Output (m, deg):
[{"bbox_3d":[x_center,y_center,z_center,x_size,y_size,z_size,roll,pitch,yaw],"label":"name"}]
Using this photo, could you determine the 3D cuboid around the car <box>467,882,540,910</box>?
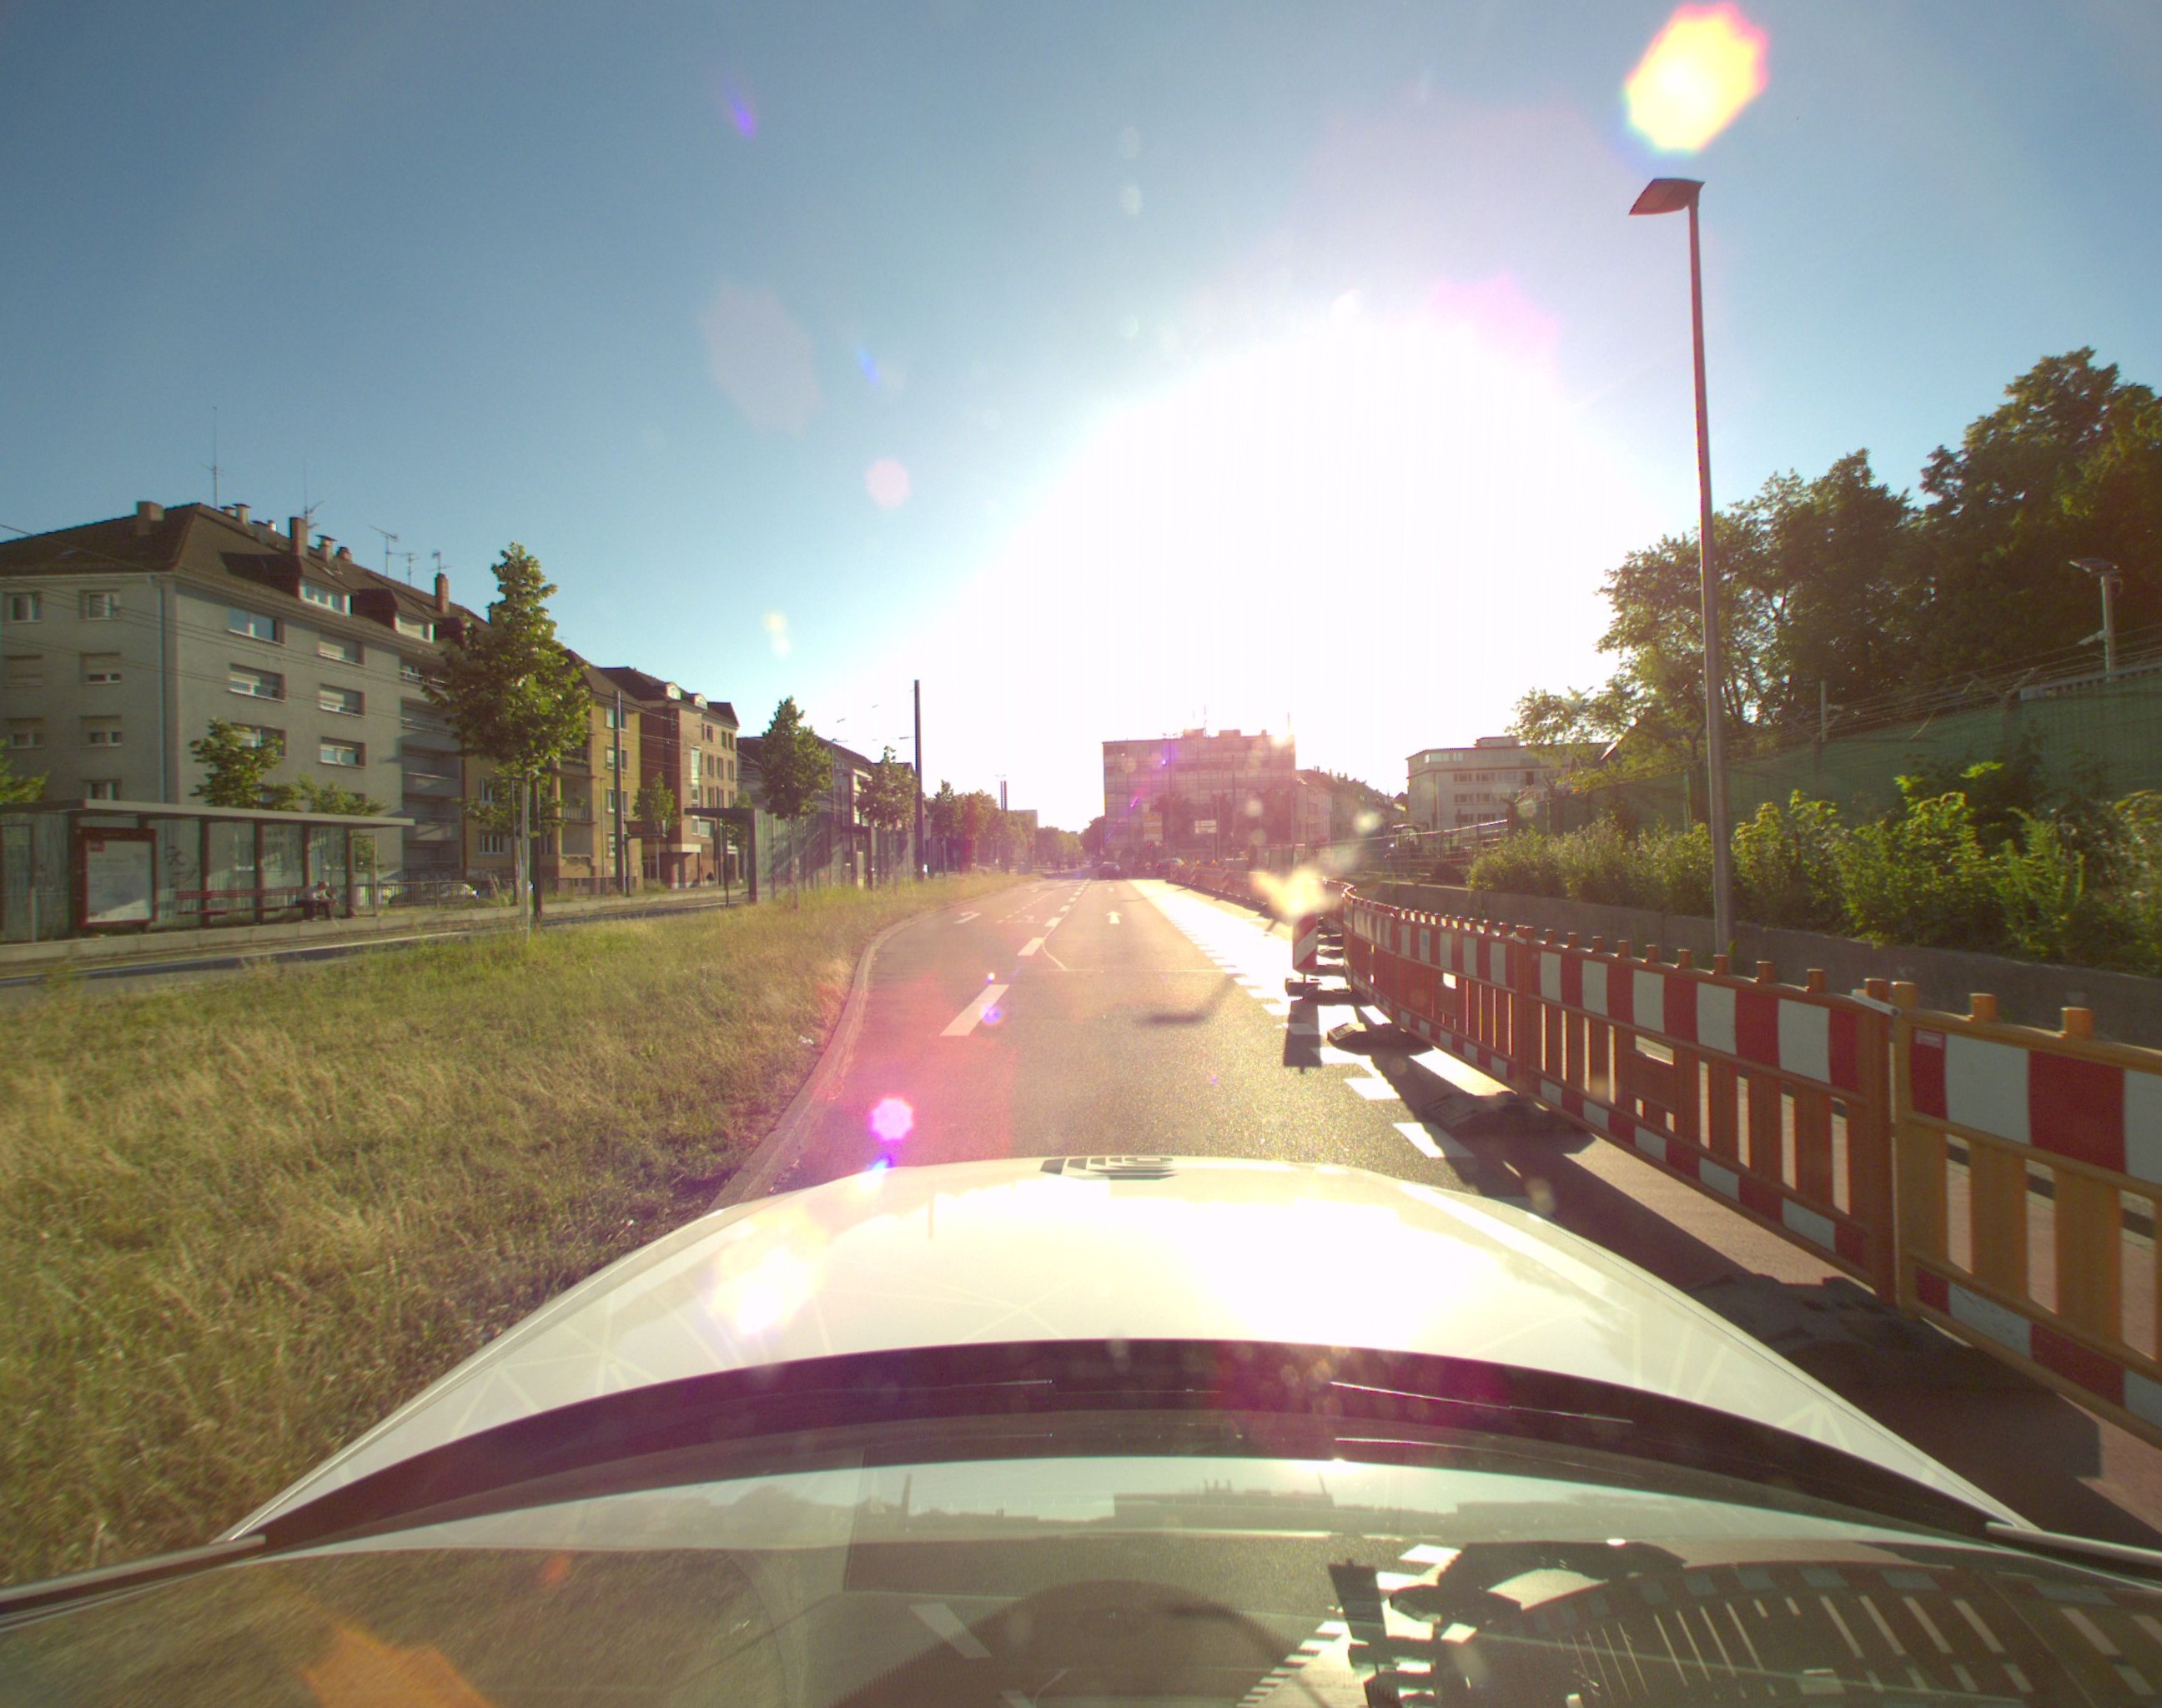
[{"bbox_3d":[-34.453,2.466,48.713,1.741,1.486,3.553,-1,-1,1],"label":"car"}]

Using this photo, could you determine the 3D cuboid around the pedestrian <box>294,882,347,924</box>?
[{"bbox_3d":[-19.933,1.283,21.356,0.625,1.047,0.794,-2,-1,1],"label":"pedestrian"}]

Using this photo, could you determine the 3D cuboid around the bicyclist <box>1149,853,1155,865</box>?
[{"bbox_3d":[9.717,0.693,111.476,0.663,1.712,0.537,-2,-1,-9],"label":"bicyclist"}]

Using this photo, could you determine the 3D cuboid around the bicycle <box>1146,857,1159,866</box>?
[{"bbox_3d":[9.778,1.019,111.481,1.775,1.072,0.533,-2,-1,-9],"label":"bicycle"}]

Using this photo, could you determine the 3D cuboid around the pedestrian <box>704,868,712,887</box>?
[{"bbox_3d":[-36.202,2.274,79.025,0.483,1.823,0.548,-1,-1,-2],"label":"pedestrian"}]

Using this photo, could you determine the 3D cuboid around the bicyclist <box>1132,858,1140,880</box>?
[{"bbox_3d":[5.109,1.407,75.832,0.641,2.013,1.068,0,1,2],"label":"bicyclist"}]

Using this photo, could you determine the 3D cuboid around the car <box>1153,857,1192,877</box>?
[{"bbox_3d":[8.147,1.144,72.314,1.975,1.693,4.025,0,1,29],"label":"car"}]

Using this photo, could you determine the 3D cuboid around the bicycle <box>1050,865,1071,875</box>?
[{"bbox_3d":[-2.205,1.763,88.669,2.216,1.026,0.683,-1,-1,4],"label":"bicycle"}]

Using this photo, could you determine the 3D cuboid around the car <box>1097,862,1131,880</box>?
[{"bbox_3d":[2.854,1.438,69.500,1.729,1.426,4.020,-1,-1,20],"label":"car"}]

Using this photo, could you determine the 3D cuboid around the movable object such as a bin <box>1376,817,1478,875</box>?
[{"bbox_3d":[22.956,-0.489,54.031,6.005,3.558,2.879,-2,-1,26],"label":"movable object such as a bin"}]

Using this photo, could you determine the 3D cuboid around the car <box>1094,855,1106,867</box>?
[{"bbox_3d":[4.054,1.478,173.239,2.477,2.392,5.934,-3,-1,1],"label":"car"}]

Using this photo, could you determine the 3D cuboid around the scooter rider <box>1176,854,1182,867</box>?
[{"bbox_3d":[13.292,0.919,110.826,0.663,1.712,0.525,-2,-1,-9],"label":"scooter rider"}]

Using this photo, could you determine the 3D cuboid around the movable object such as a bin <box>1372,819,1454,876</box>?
[{"bbox_3d":[17.220,-0.300,42.582,2.268,2.704,4.943,-2,-1,1],"label":"movable object such as a bin"}]

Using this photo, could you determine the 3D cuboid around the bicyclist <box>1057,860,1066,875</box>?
[{"bbox_3d":[-2.136,1.445,88.668,0.954,1.661,0.692,-1,-1,4],"label":"bicyclist"}]

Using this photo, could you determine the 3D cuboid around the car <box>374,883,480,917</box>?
[{"bbox_3d":[-34.667,2.395,43.352,1.986,1.508,4.432,-2,-1,1],"label":"car"}]

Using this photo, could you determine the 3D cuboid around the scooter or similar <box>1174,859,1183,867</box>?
[{"bbox_3d":[13.255,1.243,110.816,1.171,1.072,0.528,-2,-1,-9],"label":"scooter or similar"}]

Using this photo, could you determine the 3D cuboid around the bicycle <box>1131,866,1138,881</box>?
[{"bbox_3d":[4.965,1.807,75.666,0.642,1.223,2.049,0,1,2],"label":"bicycle"}]
